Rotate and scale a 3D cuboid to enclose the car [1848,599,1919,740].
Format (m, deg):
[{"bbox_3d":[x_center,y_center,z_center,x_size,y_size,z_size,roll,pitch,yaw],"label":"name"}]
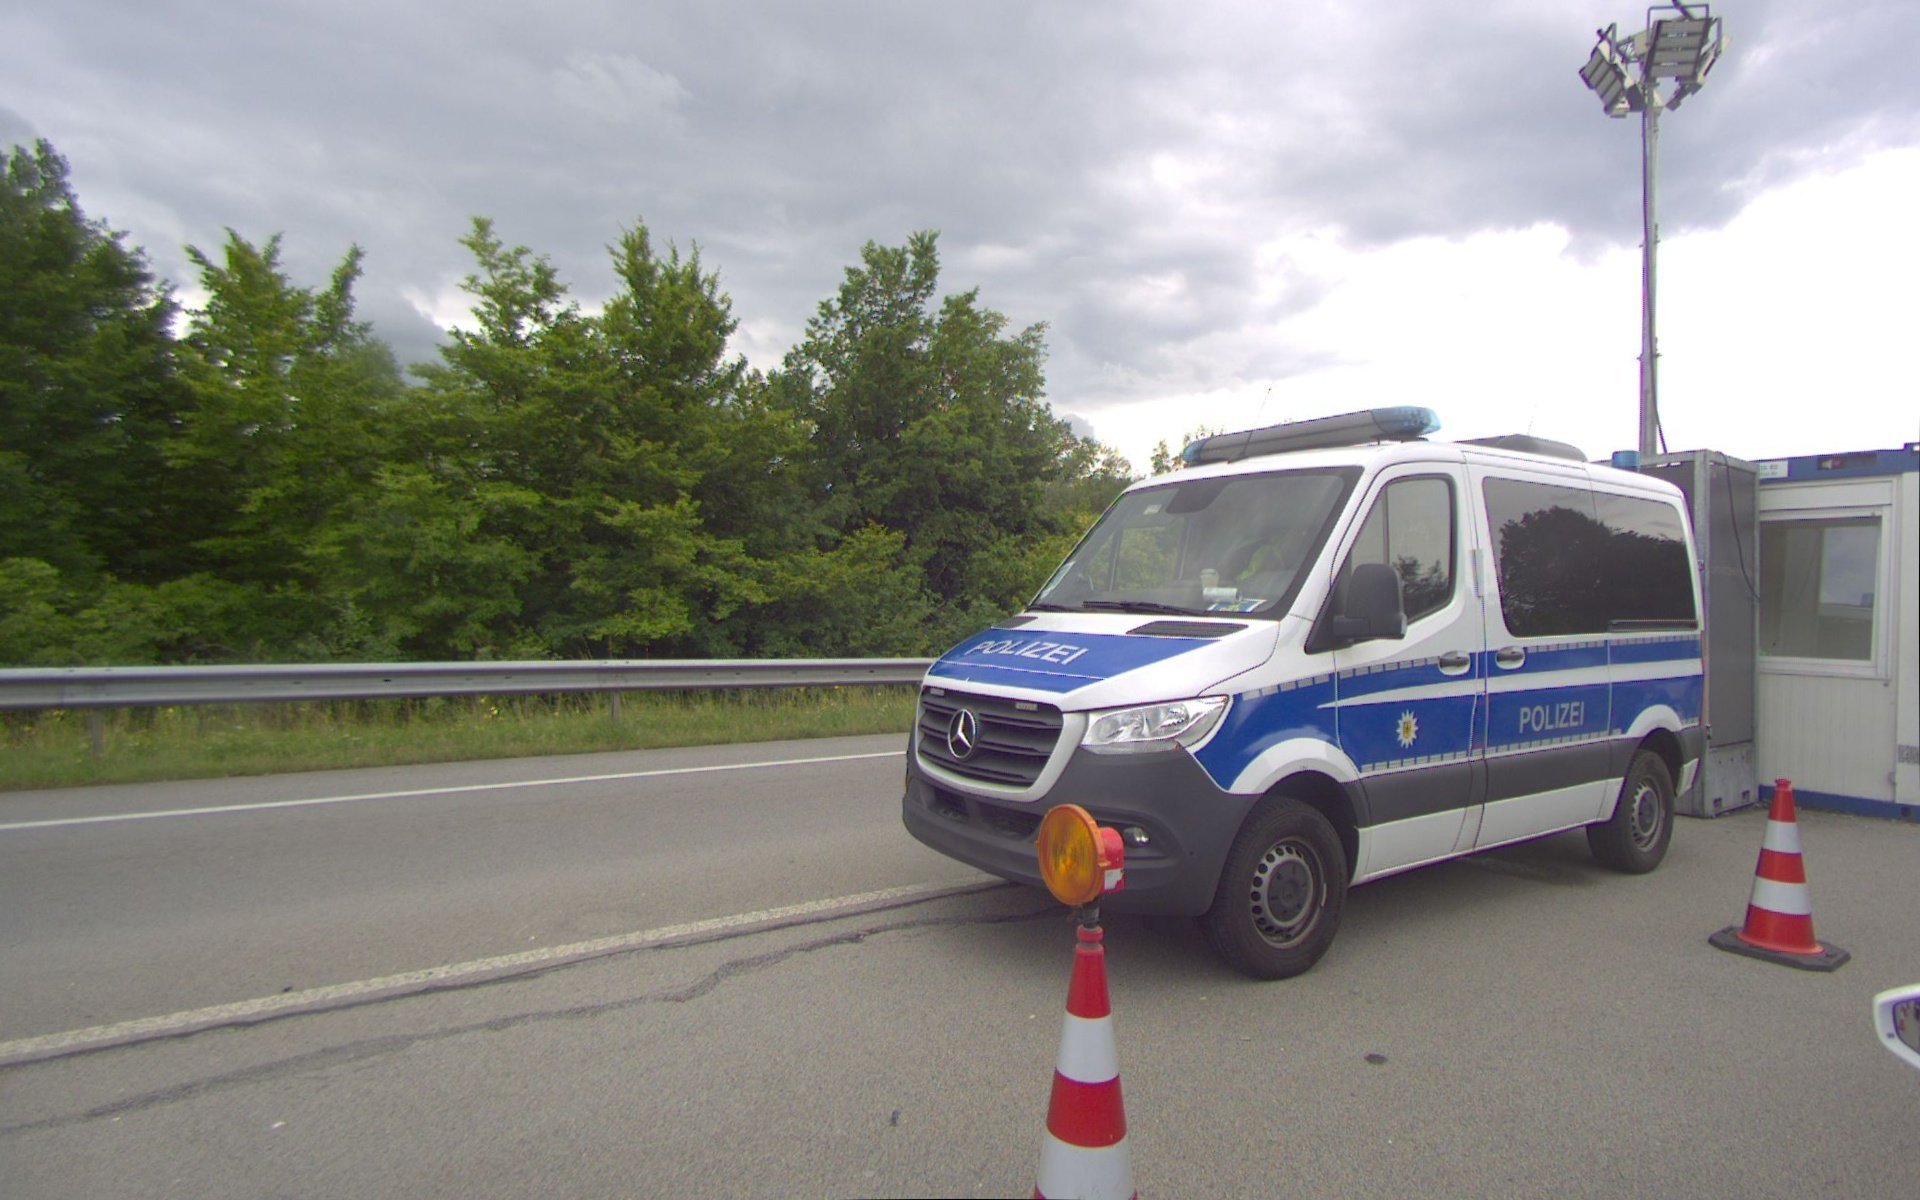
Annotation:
[{"bbox_3d":[13.828,0.914,13.567,3.967,1.767,1.857,1,0,-35],"label":"car"}]

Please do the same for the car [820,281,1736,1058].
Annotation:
[{"bbox_3d":[2.045,0.267,5.549,5.225,2.496,2.016,1,0,-34],"label":"car"}]
